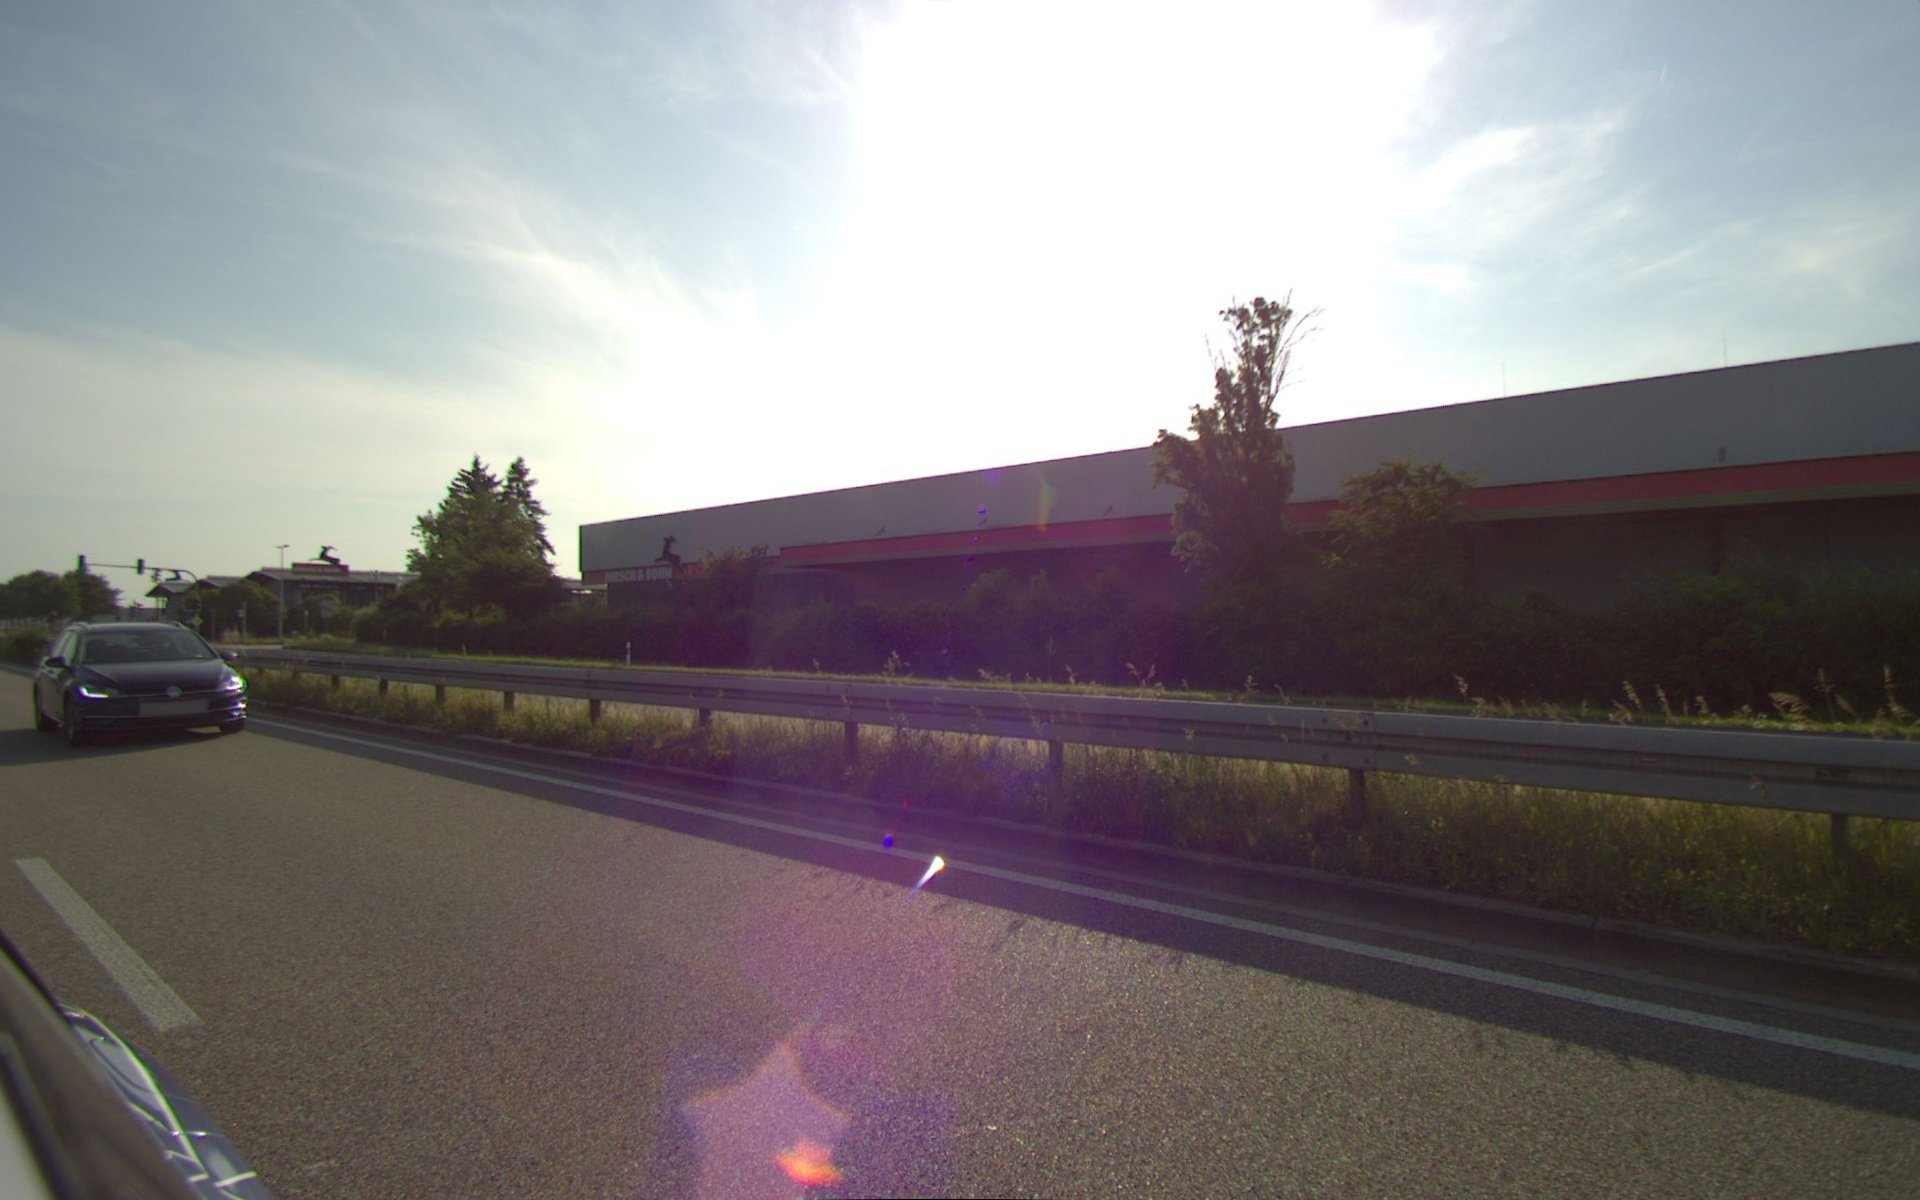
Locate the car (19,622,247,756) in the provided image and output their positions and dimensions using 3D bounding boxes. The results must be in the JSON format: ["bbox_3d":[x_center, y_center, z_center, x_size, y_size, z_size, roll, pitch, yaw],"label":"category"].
[{"bbox_3d":[-11.205,1.071,13.579,4.774,1.482,1.629,-2,-1,41],"label":"car"}]
